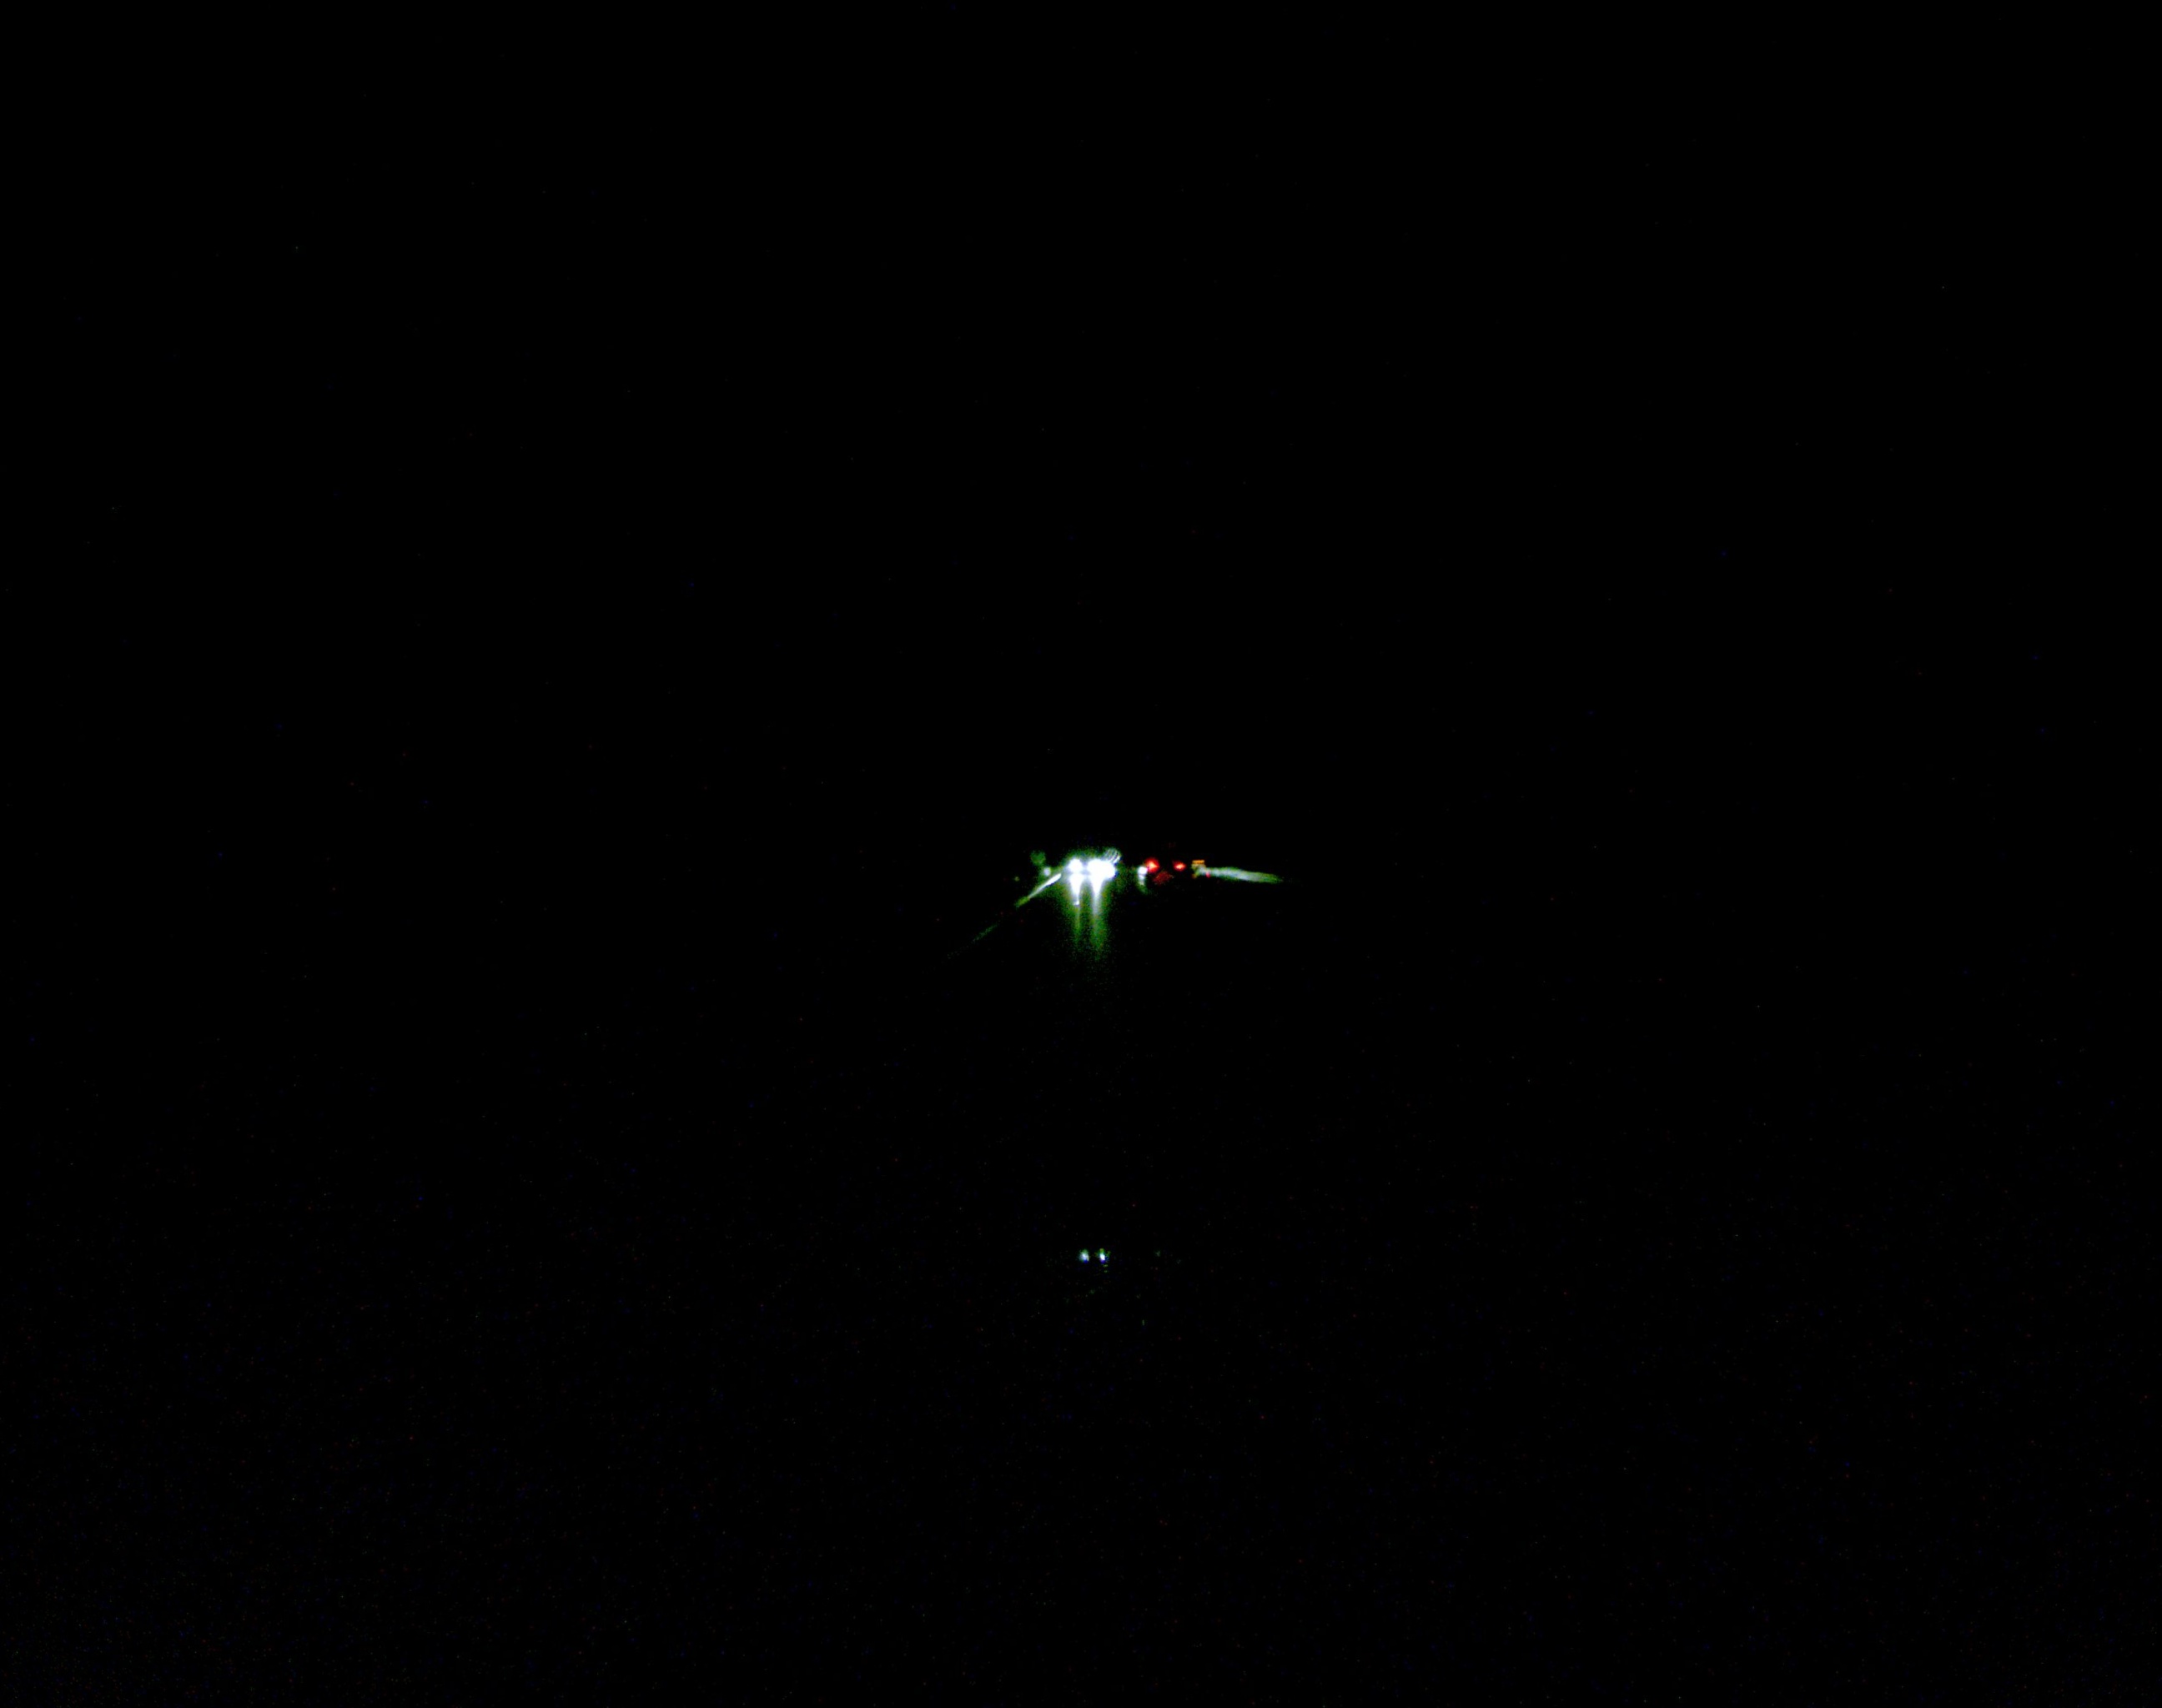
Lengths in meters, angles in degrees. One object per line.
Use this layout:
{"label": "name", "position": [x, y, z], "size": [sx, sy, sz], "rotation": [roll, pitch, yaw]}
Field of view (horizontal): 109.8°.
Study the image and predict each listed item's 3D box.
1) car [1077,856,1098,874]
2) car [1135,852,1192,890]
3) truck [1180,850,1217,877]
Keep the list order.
{"label": "car", "position": [0.618, 0.964, 69.911], "size": [1.807, 1.452, 4.275], "rotation": [-3, 0, 1]}
{"label": "car", "position": [3.574, 0.712, 33.489], "size": [1.999, 1.475, 3.215], "rotation": [-3, 1, -1]}
{"label": "truck", "position": [14.156, 1.083, 92.029], "size": [2.933, 2.819, 10.464], "rotation": [-3, 1, 1]}
